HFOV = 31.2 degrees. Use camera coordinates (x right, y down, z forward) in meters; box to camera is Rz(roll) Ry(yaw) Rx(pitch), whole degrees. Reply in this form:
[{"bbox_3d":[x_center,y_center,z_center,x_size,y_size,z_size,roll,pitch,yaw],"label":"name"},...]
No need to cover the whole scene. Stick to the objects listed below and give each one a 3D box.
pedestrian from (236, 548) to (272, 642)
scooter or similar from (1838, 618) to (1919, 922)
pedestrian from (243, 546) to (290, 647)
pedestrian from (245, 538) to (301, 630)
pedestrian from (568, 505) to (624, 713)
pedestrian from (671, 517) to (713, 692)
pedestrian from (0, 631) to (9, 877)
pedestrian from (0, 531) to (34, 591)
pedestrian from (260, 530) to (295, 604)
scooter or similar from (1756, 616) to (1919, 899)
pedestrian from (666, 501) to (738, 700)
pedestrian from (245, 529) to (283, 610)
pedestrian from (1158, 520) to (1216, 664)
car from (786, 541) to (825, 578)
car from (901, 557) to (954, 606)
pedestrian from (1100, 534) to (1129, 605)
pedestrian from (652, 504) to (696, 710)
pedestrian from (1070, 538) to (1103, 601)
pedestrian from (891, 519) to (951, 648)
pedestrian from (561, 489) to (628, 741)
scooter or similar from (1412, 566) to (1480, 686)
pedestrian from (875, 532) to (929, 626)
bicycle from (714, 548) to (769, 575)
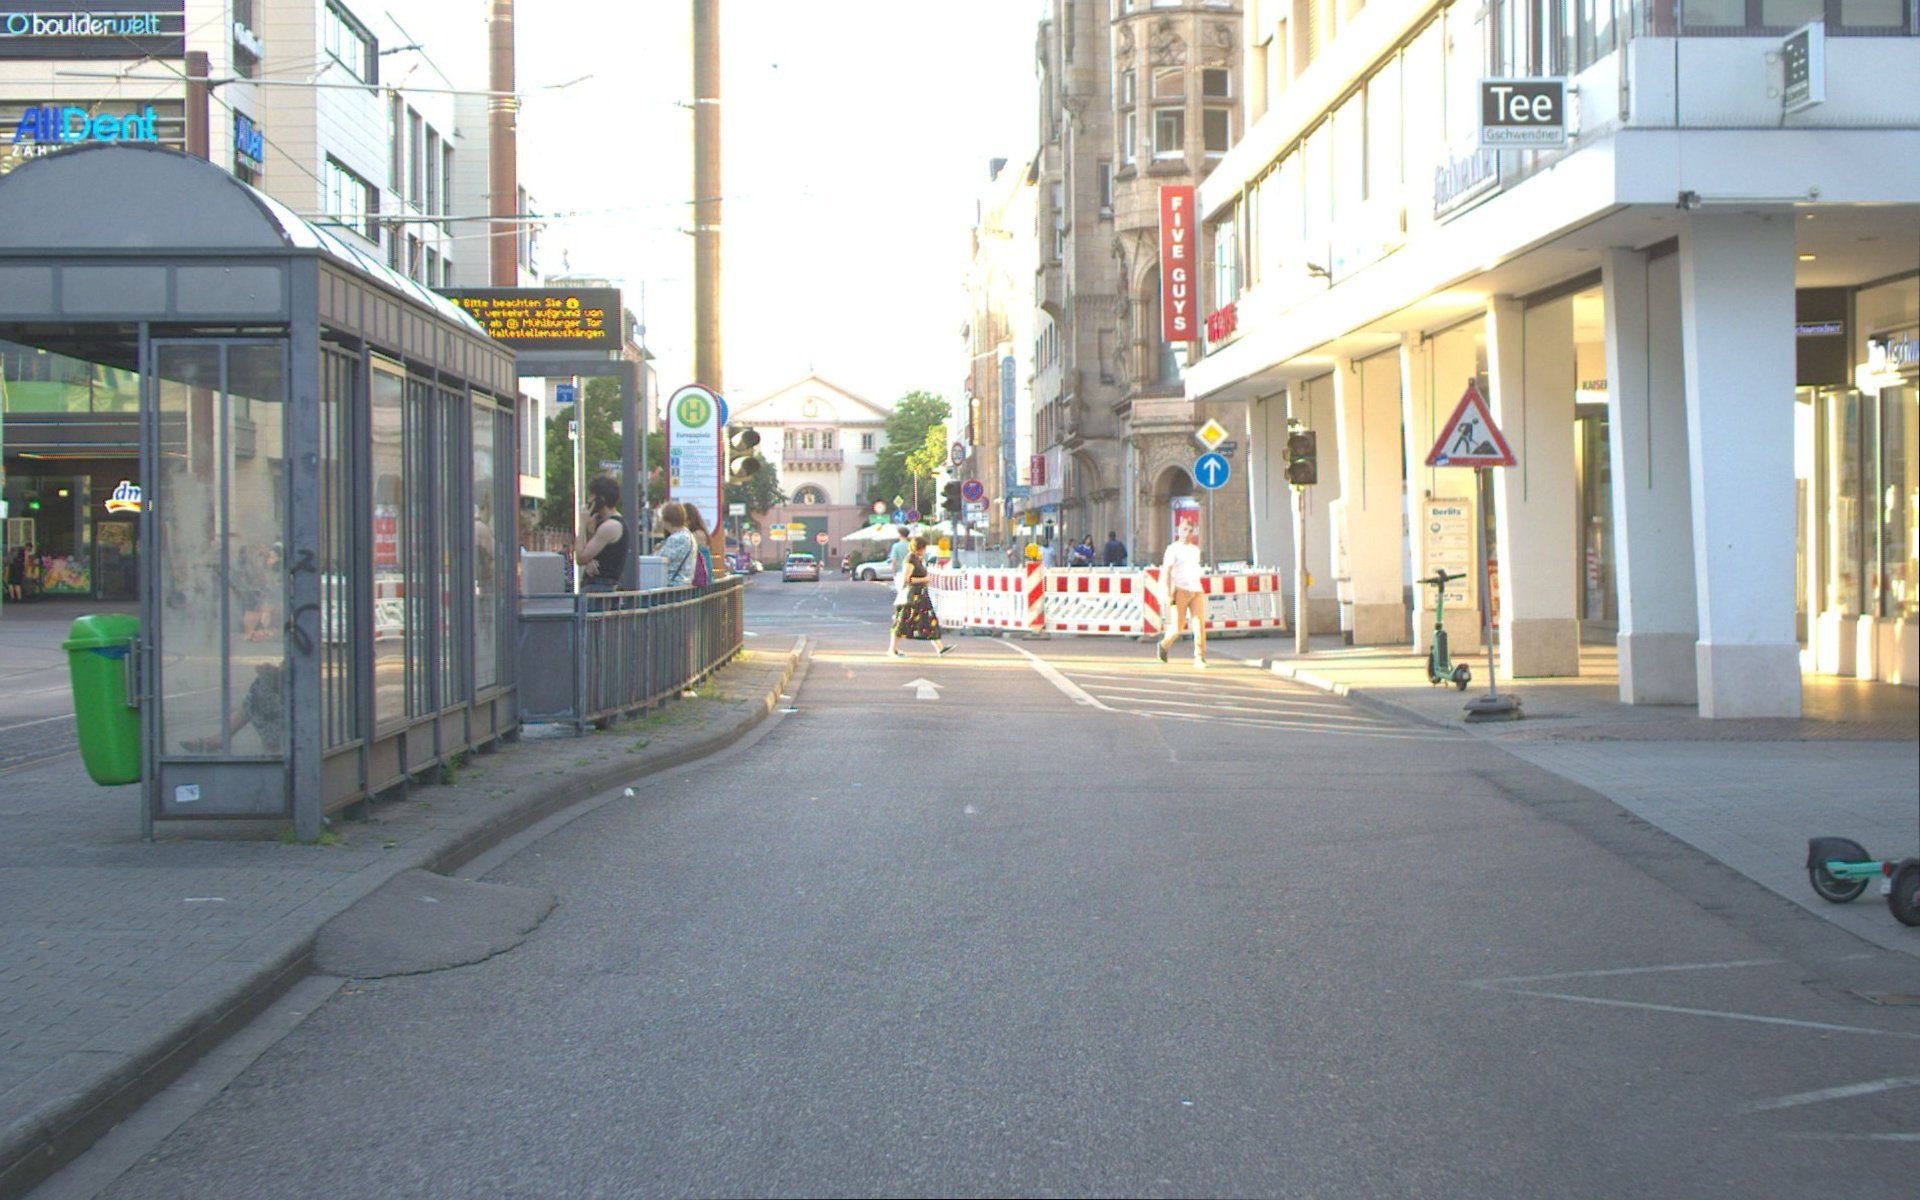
[{"bbox_3d":[-12.048,-0.085,58.699,0.569,1.587,0.448,0,0,-7],"label":"pedestrian"},{"bbox_3d":[4.173,0.690,14.459,1.044,1.230,0.272,-2,0,-33],"label":"scooter or similar"},{"bbox_3d":[-11.720,-0.065,58.128,0.743,1.694,0.610,0,0,-9],"label":"pedestrian"},{"bbox_3d":[-12.188,-0.285,60.985,0.821,1.608,0.693,-1,1,-27],"label":"pedestrian"},{"bbox_3d":[-2.900,0.069,27.424,0.385,1.636,0.549,1,0,-4],"label":"pedestrian"},{"bbox_3d":[-2.538,0.044,32.539,0.357,1.636,0.503,1,0,-4],"label":"pedestrian"},{"bbox_3d":[-4.120,0.584,12.919,0.799,0.936,0.692,1,1,21],"label":"pedestrian"},{"bbox_3d":[-24.221,-1.000,88.199,0.573,1.521,0.790,1,0,10],"label":"pedestrian"},{"bbox_3d":[-17.173,-0.838,86.554,0.573,1.848,0.816,1,0,10],"label":"pedestrian"},{"bbox_3d":[4.130,0.688,15.157,1.176,1.230,0.316,-1,0,15],"label":"scooter or similar"},{"bbox_3d":[-2.323,0.003,30.984,0.539,1.761,0.594,1,0,4],"label":"pedestrian"},{"bbox_3d":[-14.501,-0.638,71.617,0.649,1.668,0.530,0,1,7],"label":"pedestrian"},{"bbox_3d":[2.904,-0.103,44.035,0.699,1.809,0.852,1,0,4],"label":"pedestrian"},{"bbox_3d":[-8.146,-2.146,181.451,1.993,1.897,4.000,1,0,-2],"label":"car"},{"bbox_3d":[-1.130,-0.635,118.338,1.679,1.608,4.028,-1,0,-2],"label":"car"},{"bbox_3d":[3.695,-0.727,82.361,0.625,1.684,0.671,0,0,-3],"label":"pedestrian"},{"bbox_3d":[-2.517,0.059,30.253,0.341,1.789,0.544,1,0,-4],"label":"pedestrian"},{"bbox_3d":[3.236,-0.778,88.056,0.711,1.605,0.822,1,0,-4],"label":"pedestrian"},{"bbox_3d":[-0.522,-0.219,45.541,0.699,1.687,0.541,1,0,-9],"label":"pedestrian"},{"bbox_3d":[-2.594,0.106,24.418,0.412,1.761,0.594,1,0,-4],"label":"pedestrian"},{"bbox_3d":[5.076,0.265,35.951,0.505,1.230,1.180,0,1,-2],"label":"scooter or similar"},{"bbox_3d":[-1.097,-0.403,65.571,0.866,1.755,0.767,1,0,10],"label":"pedestrian"},{"bbox_3d":[-8.598,-1.515,135.273,2.148,1.026,0.640,0,0,0],"label":"bicycle"}]
